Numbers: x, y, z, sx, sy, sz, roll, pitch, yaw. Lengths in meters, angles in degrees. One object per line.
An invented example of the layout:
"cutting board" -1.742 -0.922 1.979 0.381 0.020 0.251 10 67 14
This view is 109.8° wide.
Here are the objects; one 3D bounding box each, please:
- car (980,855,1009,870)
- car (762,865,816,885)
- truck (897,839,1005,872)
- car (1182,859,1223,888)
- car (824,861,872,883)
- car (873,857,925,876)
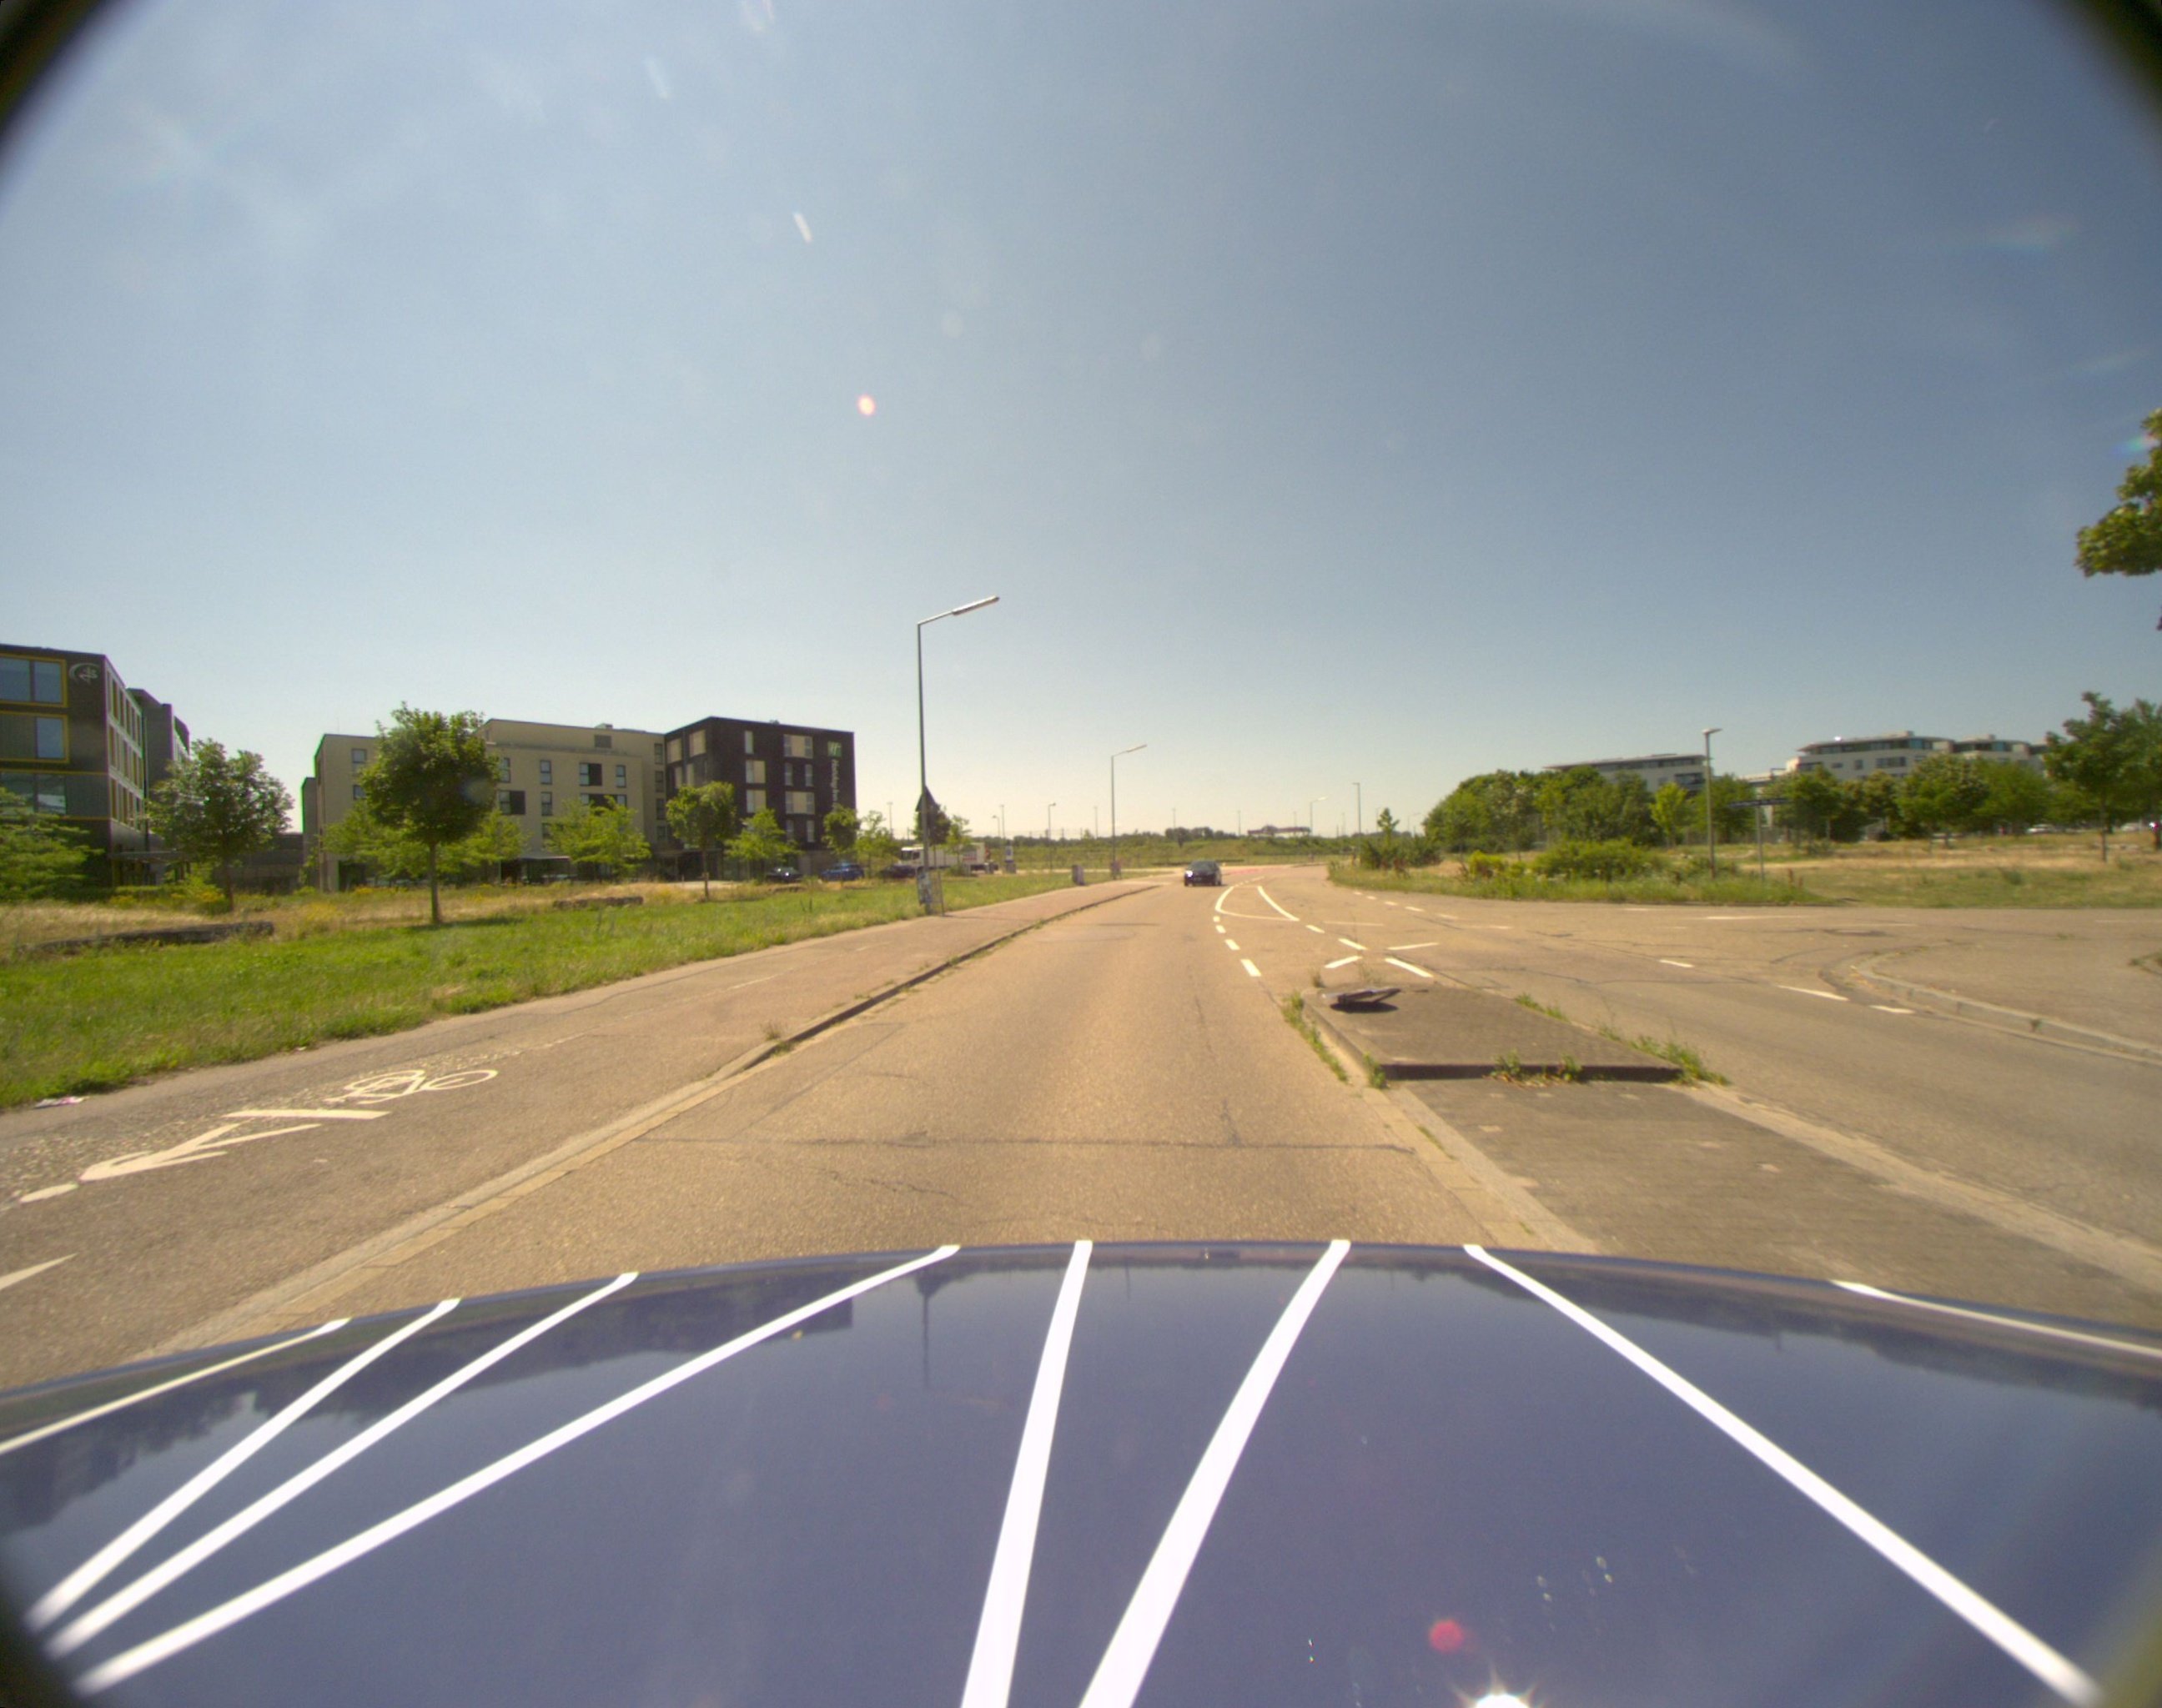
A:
"car" -11.729 1.148 102.898 3.905 2.002 1.884 -1 0 44
"car" -22.437 1.603 58.276 4.115 1.436 1.966 -1 0 37
"truck" -14.005 0.072 83.041 3.009 3.442 12.164 1 2 44
"car" 6.721 1.046 41.791 1.652 1.458 4.165 -1 0 17
"car" -19.023 1.461 61.925 4.060 1.642 1.959 -1 0 42
"car" -15.552 1.093 64.793 4.495 1.553 2.036 -1 0 41
